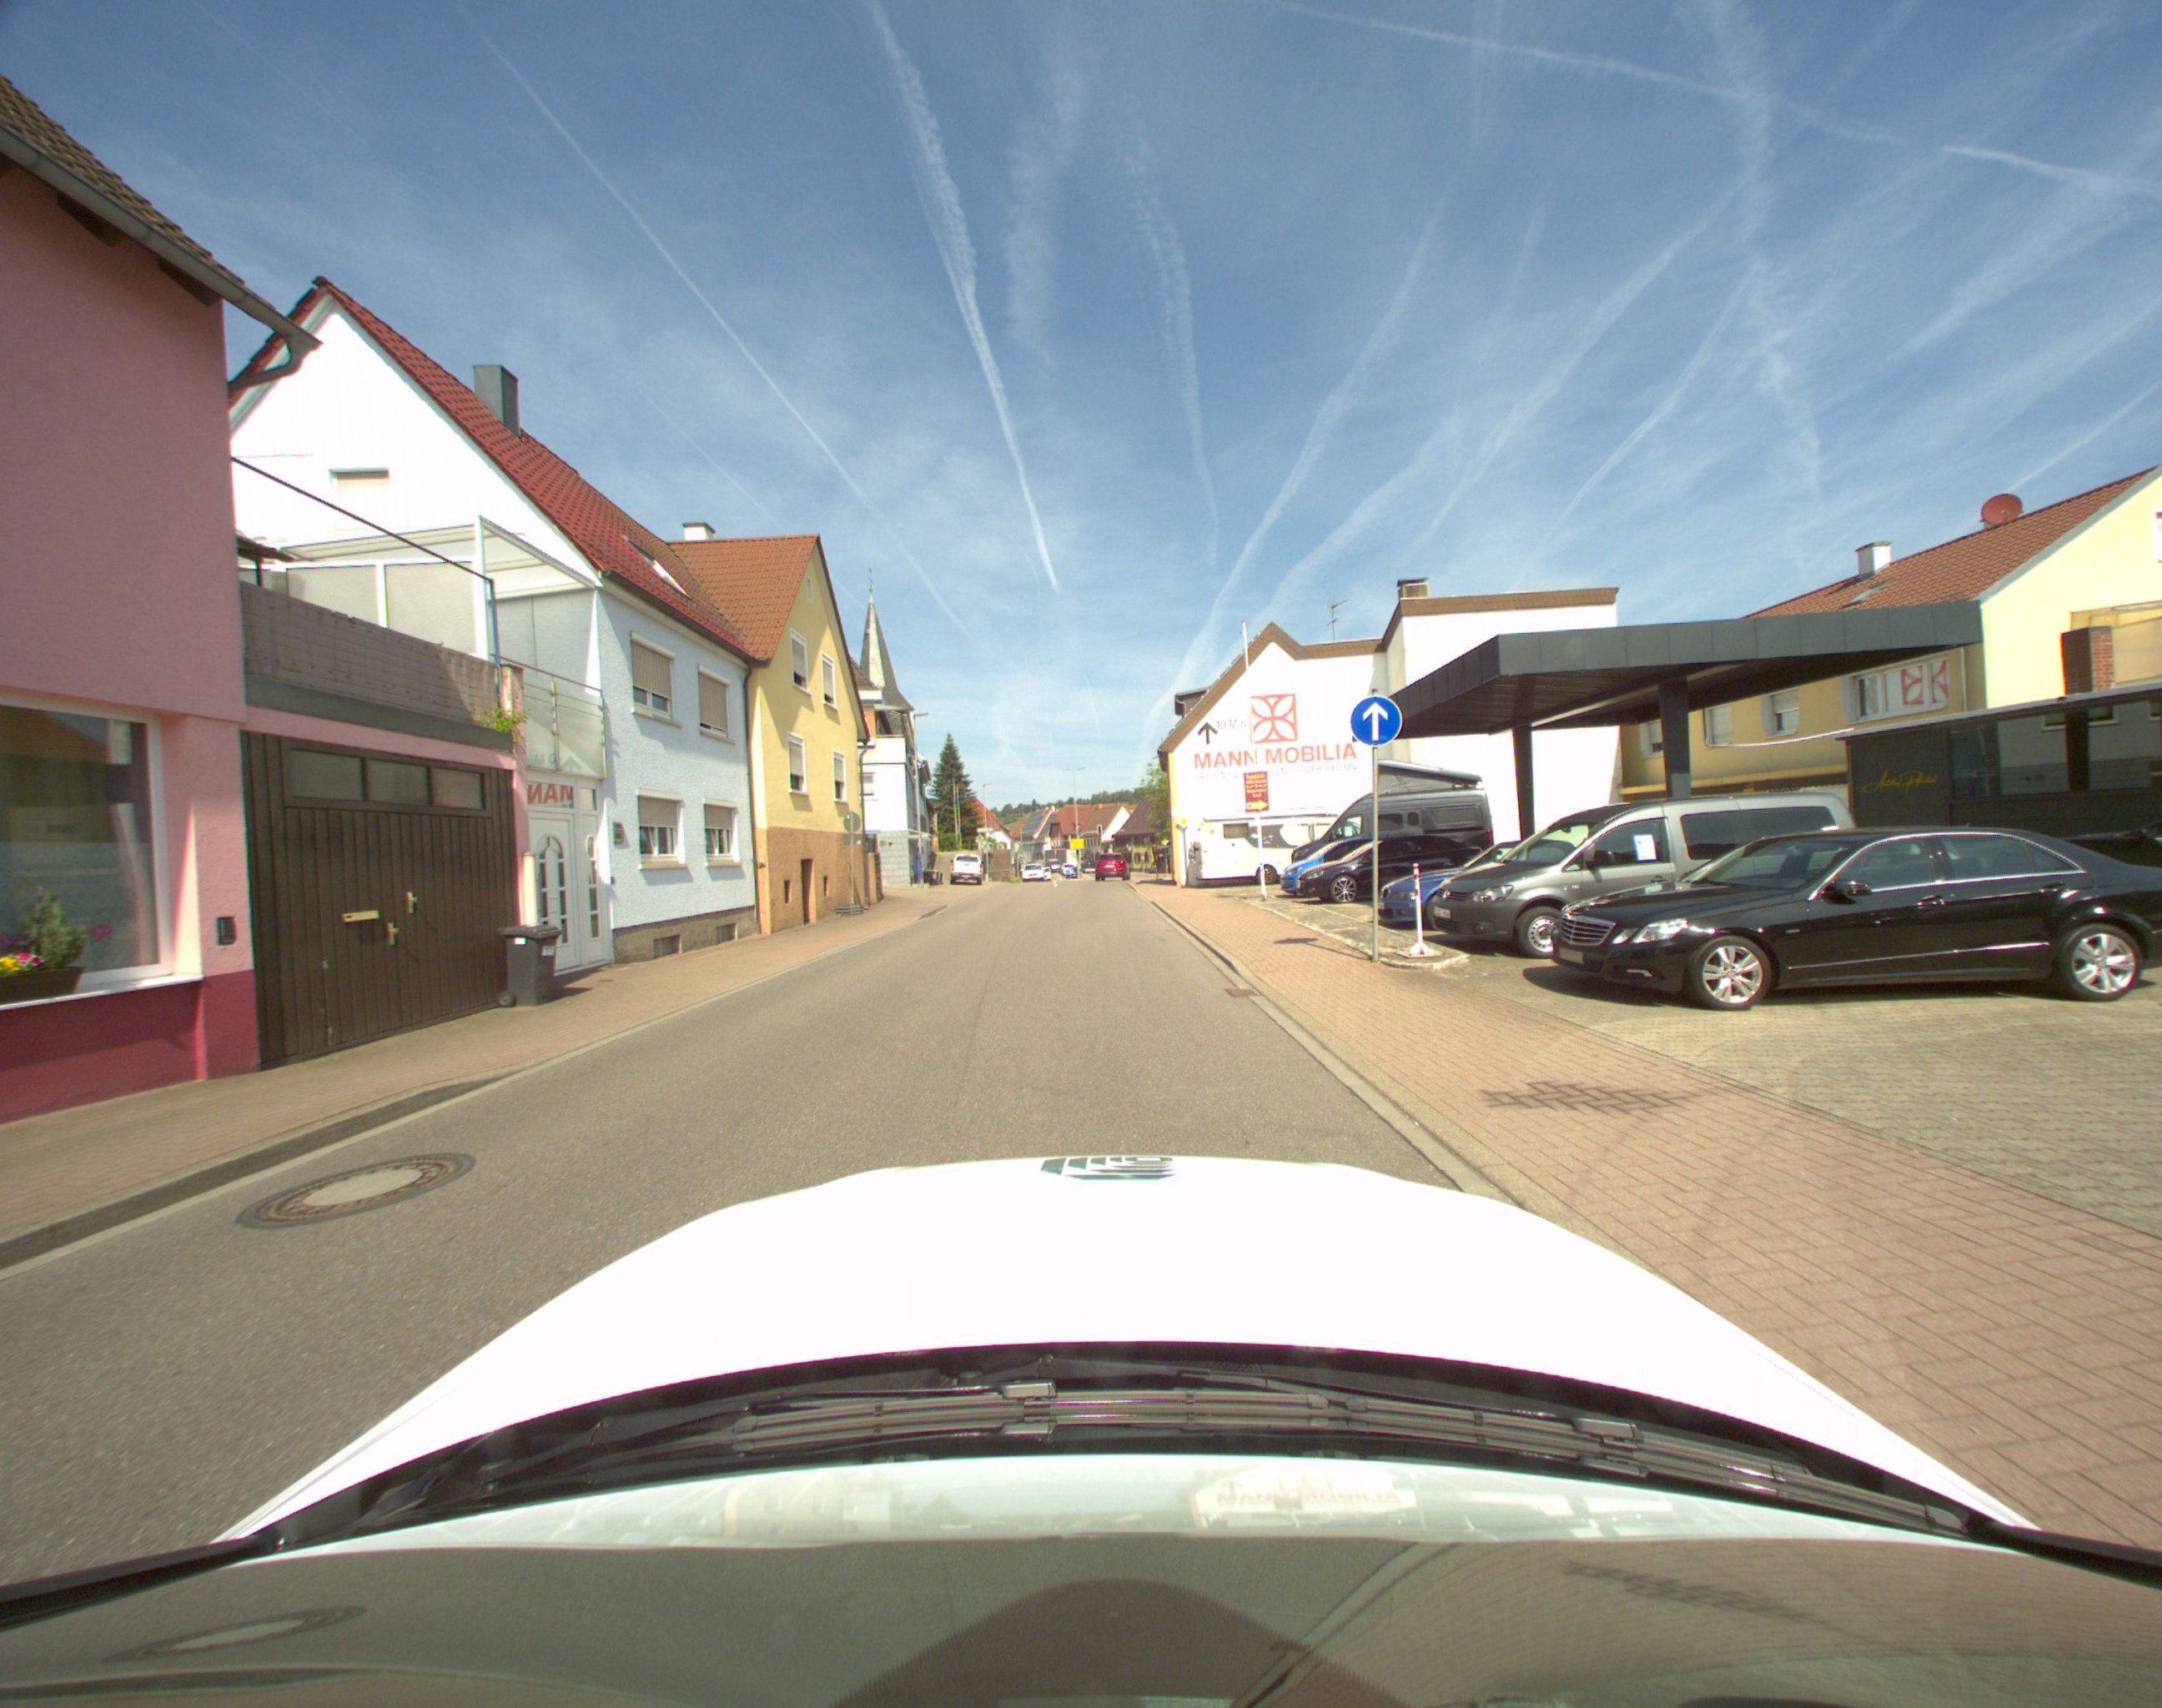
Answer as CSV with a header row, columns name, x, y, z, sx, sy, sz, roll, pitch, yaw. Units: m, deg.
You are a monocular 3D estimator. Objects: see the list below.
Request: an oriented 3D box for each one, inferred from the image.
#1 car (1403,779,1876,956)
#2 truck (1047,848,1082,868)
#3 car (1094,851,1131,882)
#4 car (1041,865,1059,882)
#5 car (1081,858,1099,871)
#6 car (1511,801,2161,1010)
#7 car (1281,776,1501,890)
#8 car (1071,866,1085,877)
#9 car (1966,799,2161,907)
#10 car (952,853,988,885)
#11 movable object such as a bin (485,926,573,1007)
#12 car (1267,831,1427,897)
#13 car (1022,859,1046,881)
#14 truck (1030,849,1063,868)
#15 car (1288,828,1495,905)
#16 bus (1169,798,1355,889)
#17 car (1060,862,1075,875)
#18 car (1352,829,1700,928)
name,x,y,z,sx,sy,sz,roll,pitch,yaw
car,6.839,0.141,10.441,4.614,1.809,1.968,-3,1,4
truck,-3.107,0.816,149.173,3.236,3.549,9.161,0,-1,-22
car,1.927,0.704,49.076,1.795,1.663,3.820,-3,0,7
car,-3.701,2.332,98.820,1.963,1.933,5.312,-3,0,0
car,1.431,1.761,134.986,1.850,2.014,3.977,0,-1,-16
car,6.867,0.423,7.626,4.614,1.498,1.913,-3,0,4
car,9.395,-0.571,25.002,5.908,2.986,2.330,-3,0,21
car,-0.426,2.486,115.269,1.813,1.434,4.251,-2,0,2
car,14.489,-0.052,10.109,1.754,1.347,4.746,-3,0,-1
car,-6.619,0.855,49.061,1.801,1.798,5.277,1,0,-4
movable object such as a bin,-6.568,1.329,9.709,0.627,0.880,0.599,0,-1,2
car,7.190,0.265,22.207,3.789,1.528,1.581,-3,0,-1
car,-3.660,1.235,62.813,1.726,1.542,3.806,-3,0,-4
truck,-6.792,0.976,158.345,3.172,3.460,10.631,0,-1,-22
car,7.089,0.277,18.925,4.142,1.481,1.729,-3,0,4
bus,6.771,-0.370,31.112,6.536,2.905,2.231,-4,-1,4
car,-2.118,2.320,129.567,1.819,1.906,4.953,-2,0,-6
car,6.960,0.374,13.178,4.518,1.267,1.968,-3,0,4
